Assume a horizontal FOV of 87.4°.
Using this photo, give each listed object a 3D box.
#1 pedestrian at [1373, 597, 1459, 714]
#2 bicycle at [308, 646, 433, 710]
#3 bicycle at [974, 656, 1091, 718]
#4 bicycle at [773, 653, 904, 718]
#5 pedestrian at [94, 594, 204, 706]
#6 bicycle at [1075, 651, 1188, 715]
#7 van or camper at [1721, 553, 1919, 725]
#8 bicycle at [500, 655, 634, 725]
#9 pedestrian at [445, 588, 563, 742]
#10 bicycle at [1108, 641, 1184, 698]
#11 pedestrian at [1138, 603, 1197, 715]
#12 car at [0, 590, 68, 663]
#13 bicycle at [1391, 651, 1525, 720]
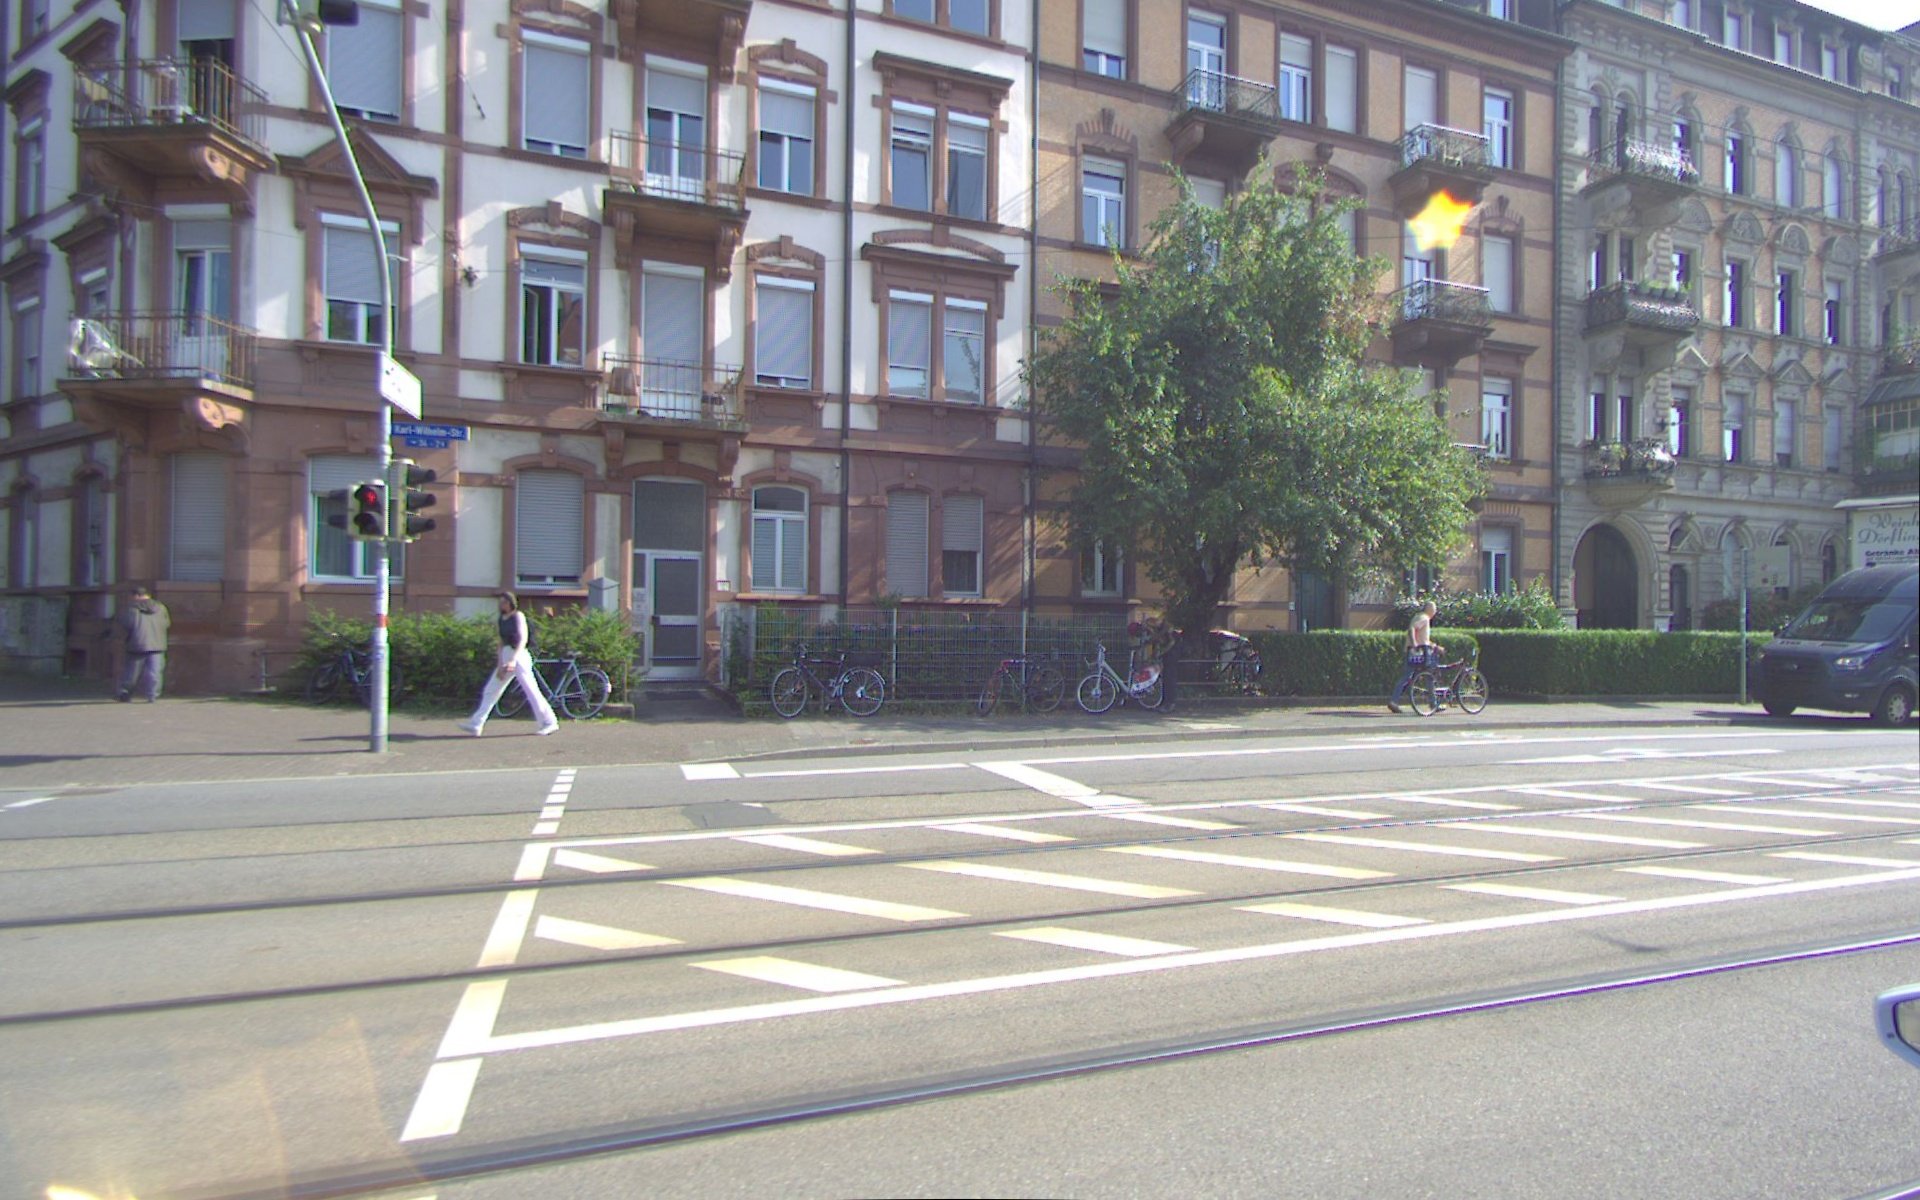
[{"bbox_3d":[7.376,0.889,16.250,1.077,1.830,0.726,1,-1,-22],"label":"pedestrian"},{"bbox_3d":[-8.664,1.127,14.764,1.792,0.871,0.528,0,-1,19],"label":"bicycle"},{"bbox_3d":[1.083,1.284,15.004,1.675,0.871,0.526,1,-1,-17],"label":"bicycle"},{"bbox_3d":[-1.738,1.213,14.392,1.799,0.871,0.526,1,-1,-17],"label":"bicycle"},{"bbox_3d":[-11.914,0.717,14.774,0.926,1.591,0.842,0,-1,14],"label":"pedestrian"},{"bbox_3d":[2.655,1.275,15.564,1.675,0.940,0.526,1,-1,-17],"label":"bicycle"},{"bbox_3d":[16.520,0.722,17.350,5.985,2.679,2.052,2,-2,-14],"label":"van or camper"},{"bbox_3d":[-5.417,1.221,13.847,1.792,0.871,0.528,0,-1,19],"label":"bicycle"},{"bbox_3d":[-5.546,0.771,12.301,1.166,1.789,0.904,1,-1,-17],"label":"pedestrian"},{"bbox_3d":[3.147,1.162,17.156,0.520,0.871,1.695,1,-1,-19],"label":"bicycle"},{"bbox_3d":[3.221,0.901,15.603,0.627,1.700,0.633,1,-1,-32],"label":"pedestrian"},{"bbox_3d":[-27.958,0.727,27.940,2.038,2.043,4.594,1,-1,3],"label":"car"},{"bbox_3d":[7.838,1.317,15.801,2.118,1.020,0.617,1,-1,-21],"label":"bicycle"}]
